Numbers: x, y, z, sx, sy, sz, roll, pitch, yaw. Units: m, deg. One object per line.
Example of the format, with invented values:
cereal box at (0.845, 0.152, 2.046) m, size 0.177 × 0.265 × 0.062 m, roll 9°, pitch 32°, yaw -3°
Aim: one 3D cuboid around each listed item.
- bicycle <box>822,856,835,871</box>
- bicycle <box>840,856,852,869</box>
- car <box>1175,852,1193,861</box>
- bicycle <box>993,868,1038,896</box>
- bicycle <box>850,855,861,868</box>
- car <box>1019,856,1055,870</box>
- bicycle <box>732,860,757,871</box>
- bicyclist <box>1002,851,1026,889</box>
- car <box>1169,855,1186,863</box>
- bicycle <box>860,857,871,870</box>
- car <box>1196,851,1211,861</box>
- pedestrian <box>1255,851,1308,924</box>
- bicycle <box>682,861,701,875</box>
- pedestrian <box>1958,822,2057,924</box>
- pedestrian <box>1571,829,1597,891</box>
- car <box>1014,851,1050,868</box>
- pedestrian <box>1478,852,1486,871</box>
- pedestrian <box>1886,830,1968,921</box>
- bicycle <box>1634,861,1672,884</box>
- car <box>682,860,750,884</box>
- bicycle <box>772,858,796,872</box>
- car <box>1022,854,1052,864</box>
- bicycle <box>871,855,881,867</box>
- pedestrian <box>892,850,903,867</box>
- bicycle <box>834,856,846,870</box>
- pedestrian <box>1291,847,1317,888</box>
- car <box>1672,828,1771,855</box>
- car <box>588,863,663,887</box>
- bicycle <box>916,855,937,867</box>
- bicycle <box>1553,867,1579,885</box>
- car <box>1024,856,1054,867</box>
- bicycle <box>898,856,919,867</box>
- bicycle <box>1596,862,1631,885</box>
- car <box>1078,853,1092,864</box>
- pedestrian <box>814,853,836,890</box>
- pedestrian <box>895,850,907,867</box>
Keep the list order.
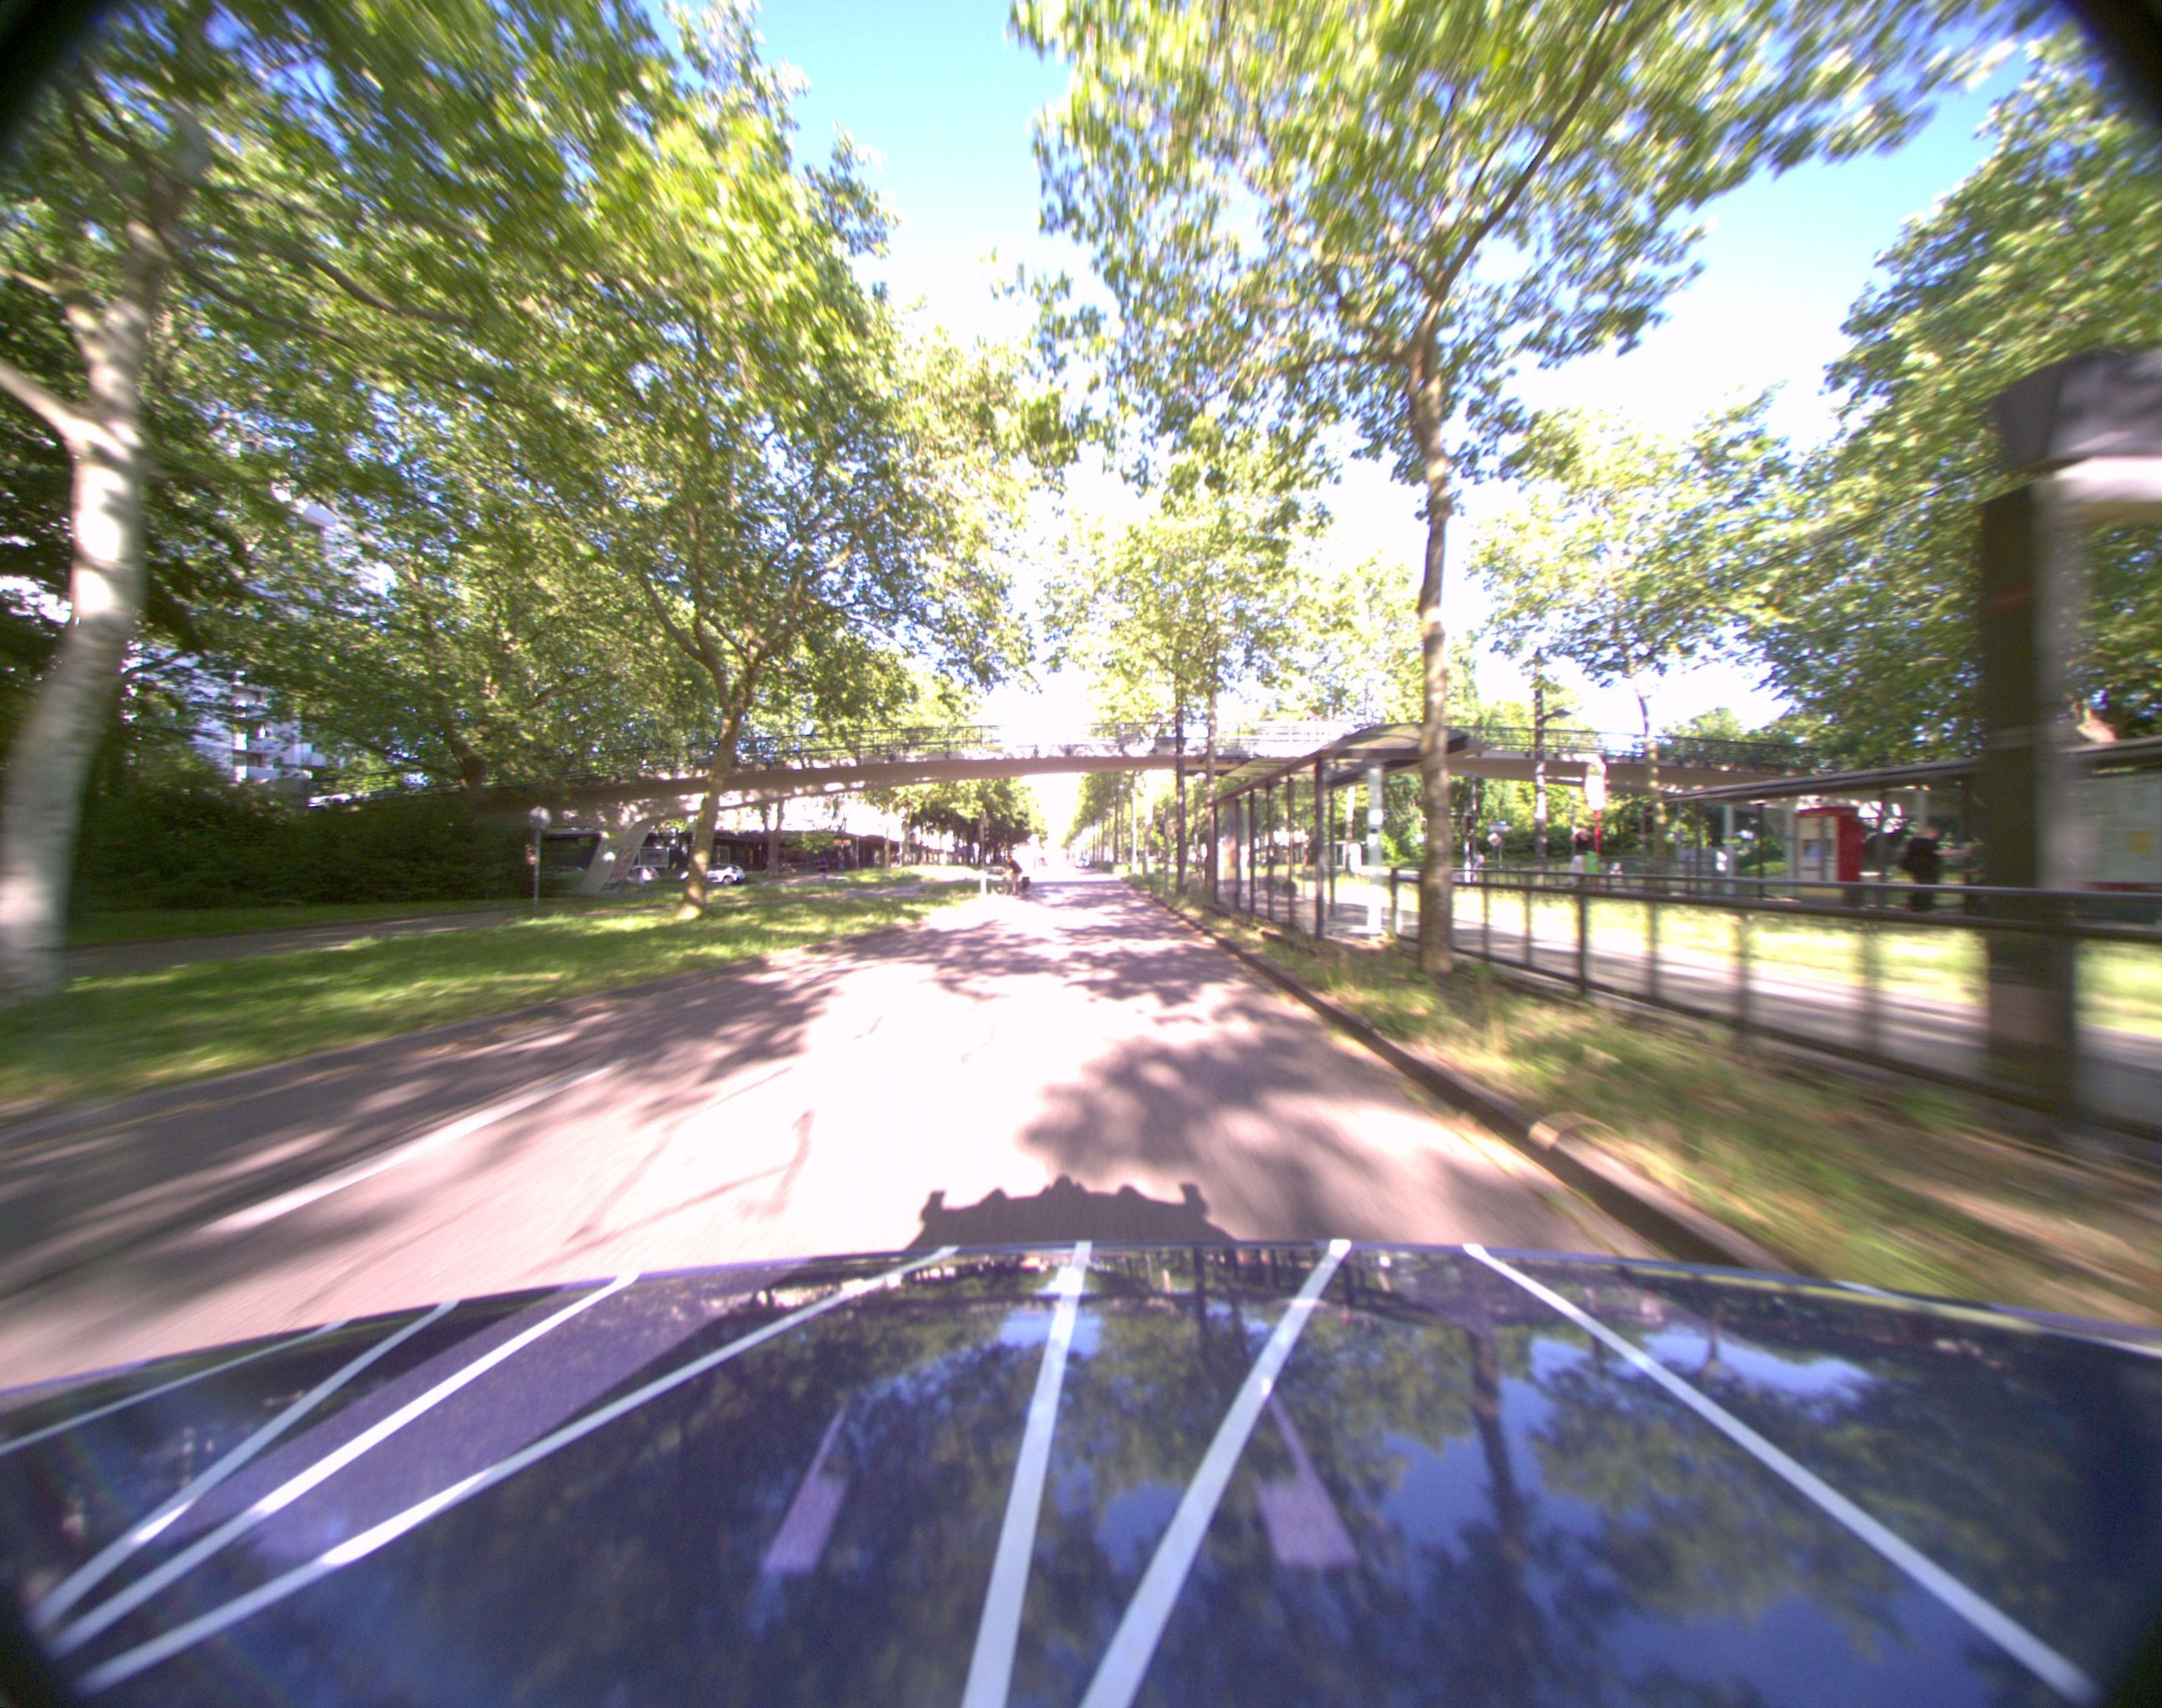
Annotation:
bicycle at (-22.446, 0.857, 67.555) m, size 0.577 × 1.246 × 1.806 m, roll -2°, pitch 1°, yaw -1°
bicycle at (-22.790, 0.822, 73.666) m, size 0.577 × 1.246 × 1.806 m, roll -2°, pitch 1°, yaw -1°
car at (20.845, 0.451, 153.362) m, size 1.884 × 1.558 × 4.007 m, roll -2°, pitch 1°, yaw 35°
bicycle at (-2.756, 1.178, 32.134) m, size 1.835 × 1.140 × 0.815 m, roll 0°, pitch 0°, yaw 0°
bicycle at (-23.228, 0.749, 78.174) m, size 0.577 × 1.246 × 1.806 m, roll -2°, pitch 1°, yaw -1°
car at (-4.826, 0.986, 83.231) m, size 3.838 × 1.464 × 1.514 m, roll 1°, pitch 0°, yaw -44°
bicycle at (-29.012, 0.989, 65.515) m, size 1.806 × 0.949 × 0.710 m, roll 1°, pitch 0°, yaw -7°
bicyclist at (-2.826, 0.674, 32.130) m, size 0.956 × 1.622 × 0.815 m, roll 0°, pitch 0°, yaw 0°
car at (20.773, 1.116, 162.771) m, size 1.884 × 1.558 × 4.007 m, roll -2°, pitch 1°, yaw 35°
bicycle at (-21.406, 0.894, 75.367) m, size 0.577 × 1.246 × 1.806 m, roll -2°, pitch 1°, yaw -1°
car at (21.442, 0.332, 133.276) m, size 1.754 × 1.487 × 3.816 m, roll -4°, pitch 1°, yaw -1°
pedestrian at (3.587, 0.586, 13.633) m, size 0.736 × 1.245 × 0.587 m, roll -2°, pitch 1°, yaw -5°
bicycle at (-30.686, 1.105, 59.874) m, size 0.506 × 0.955 × 2.193 m, roll 0°, pitch 3°, yaw -6°
pedestrian at (15.178, 0.306, 12.463) m, size 0.731 × 1.625 × 0.715 m, roll 0°, pitch 1°, yaw -2°
pedestrian at (14.732, 0.173, 22.254) m, size 0.504 × 1.760 × 0.483 m, roll -3°, pitch 1°, yaw -40°
car at (-5.637, 0.613, 87.322) m, size 1.763 × 1.832 × 3.960 m, roll 1°, pitch 0°, yaw 45°
pedestrian at (31.593, 0.589, 59.843) m, size 0.534 × 1.483 × 0.588 m, roll -2°, pitch 1°, yaw 25°
pedestrian at (14.321, 0.356, 12.875) m, size 0.644 × 1.505 × 0.683 m, roll 0°, pitch 1°, yaw -12°
bicycle at (25.914, 0.824, 34.448) m, size 0.435 × 1.003 × 1.686 m, roll -2°, pitch 0°, yaw 1°
car at (-24.645, 1.214, 51.331) m, size 3.739 × 1.486 × 1.710 m, roll -2°, pitch -2°, yaw -3°
bicycle at (-25.691, 0.939, 65.827) m, size 1.806 × 1.109 × 0.710 m, roll 0°, pitch 2°, yaw -7°
car at (-6.057, 0.687, 104.465) m, size 1.681 × 1.395 × 4.096 m, roll 1°, pitch 0°, yaw 42°
bicycle at (-21.685, 0.753, 80.274) m, size 0.577 × 1.246 × 1.806 m, roll -2°, pitch 1°, yaw -1°
pedestrian at (-19.554, 0.466, 80.927) m, size 0.967 × 1.829 × 0.952 m, roll 0°, pitch 1°, yaw -9°
bicycle at (-22.674, 0.835, 71.591) m, size 0.577 × 1.246 × 1.806 m, roll -2°, pitch 1°, yaw -1°
pedestrian at (9.345, 0.543, 31.877) m, size 0.727 × 1.664 × 1.048 m, roll -2°, pitch 1°, yaw -3°
car at (49.410, -0.971, 58.686) m, size 6.152 × 1.937 × 2.224 m, roll -1°, pitch 1°, yaw -5°
car at (-30.537, 1.436, 51.031) m, size 3.986 × 1.486 × 1.667 m, roll -1°, pitch -2°, yaw -11°
bicycle at (-15.675, 0.693, 77.212) m, size 2.073 × 1.151 × 0.561 m, roll 0°, pitch 0°, yaw -10°
bicycle at (22.857, 1.039, 35.832) m, size 0.435 × 0.774 × 1.174 m, roll -2°, pitch 0°, yaw 1°
car at (-6.169, 1.102, 112.187) m, size 4.312 × 1.666 × 1.862 m, roll -1°, pitch 0°, yaw -44°
bicycle at (-17.798, 0.794, 78.426) m, size 2.069 × 1.151 × 0.562 m, roll 1°, pitch 0°, yaw 14°
bicycle at (24.478, 0.873, 34.940) m, size 0.435 × 1.003 × 1.686 m, roll -2°, pitch 0°, yaw 1°
car at (0.625, 0.653, 110.279) m, size 1.897 × 1.623 × 4.502 m, roll -2°, pitch 0°, yaw 2°
pedestrian at (-12.440, 0.870, 36.886) m, size 0.658 × 1.766 × 0.741 m, roll -1°, pitch -1°, yaw 38°
pedestrian at (-18.475, 0.466, 77.903) m, size 1.131 × 1.698 × 0.732 m, roll 0°, pitch 1°, yaw -9°
